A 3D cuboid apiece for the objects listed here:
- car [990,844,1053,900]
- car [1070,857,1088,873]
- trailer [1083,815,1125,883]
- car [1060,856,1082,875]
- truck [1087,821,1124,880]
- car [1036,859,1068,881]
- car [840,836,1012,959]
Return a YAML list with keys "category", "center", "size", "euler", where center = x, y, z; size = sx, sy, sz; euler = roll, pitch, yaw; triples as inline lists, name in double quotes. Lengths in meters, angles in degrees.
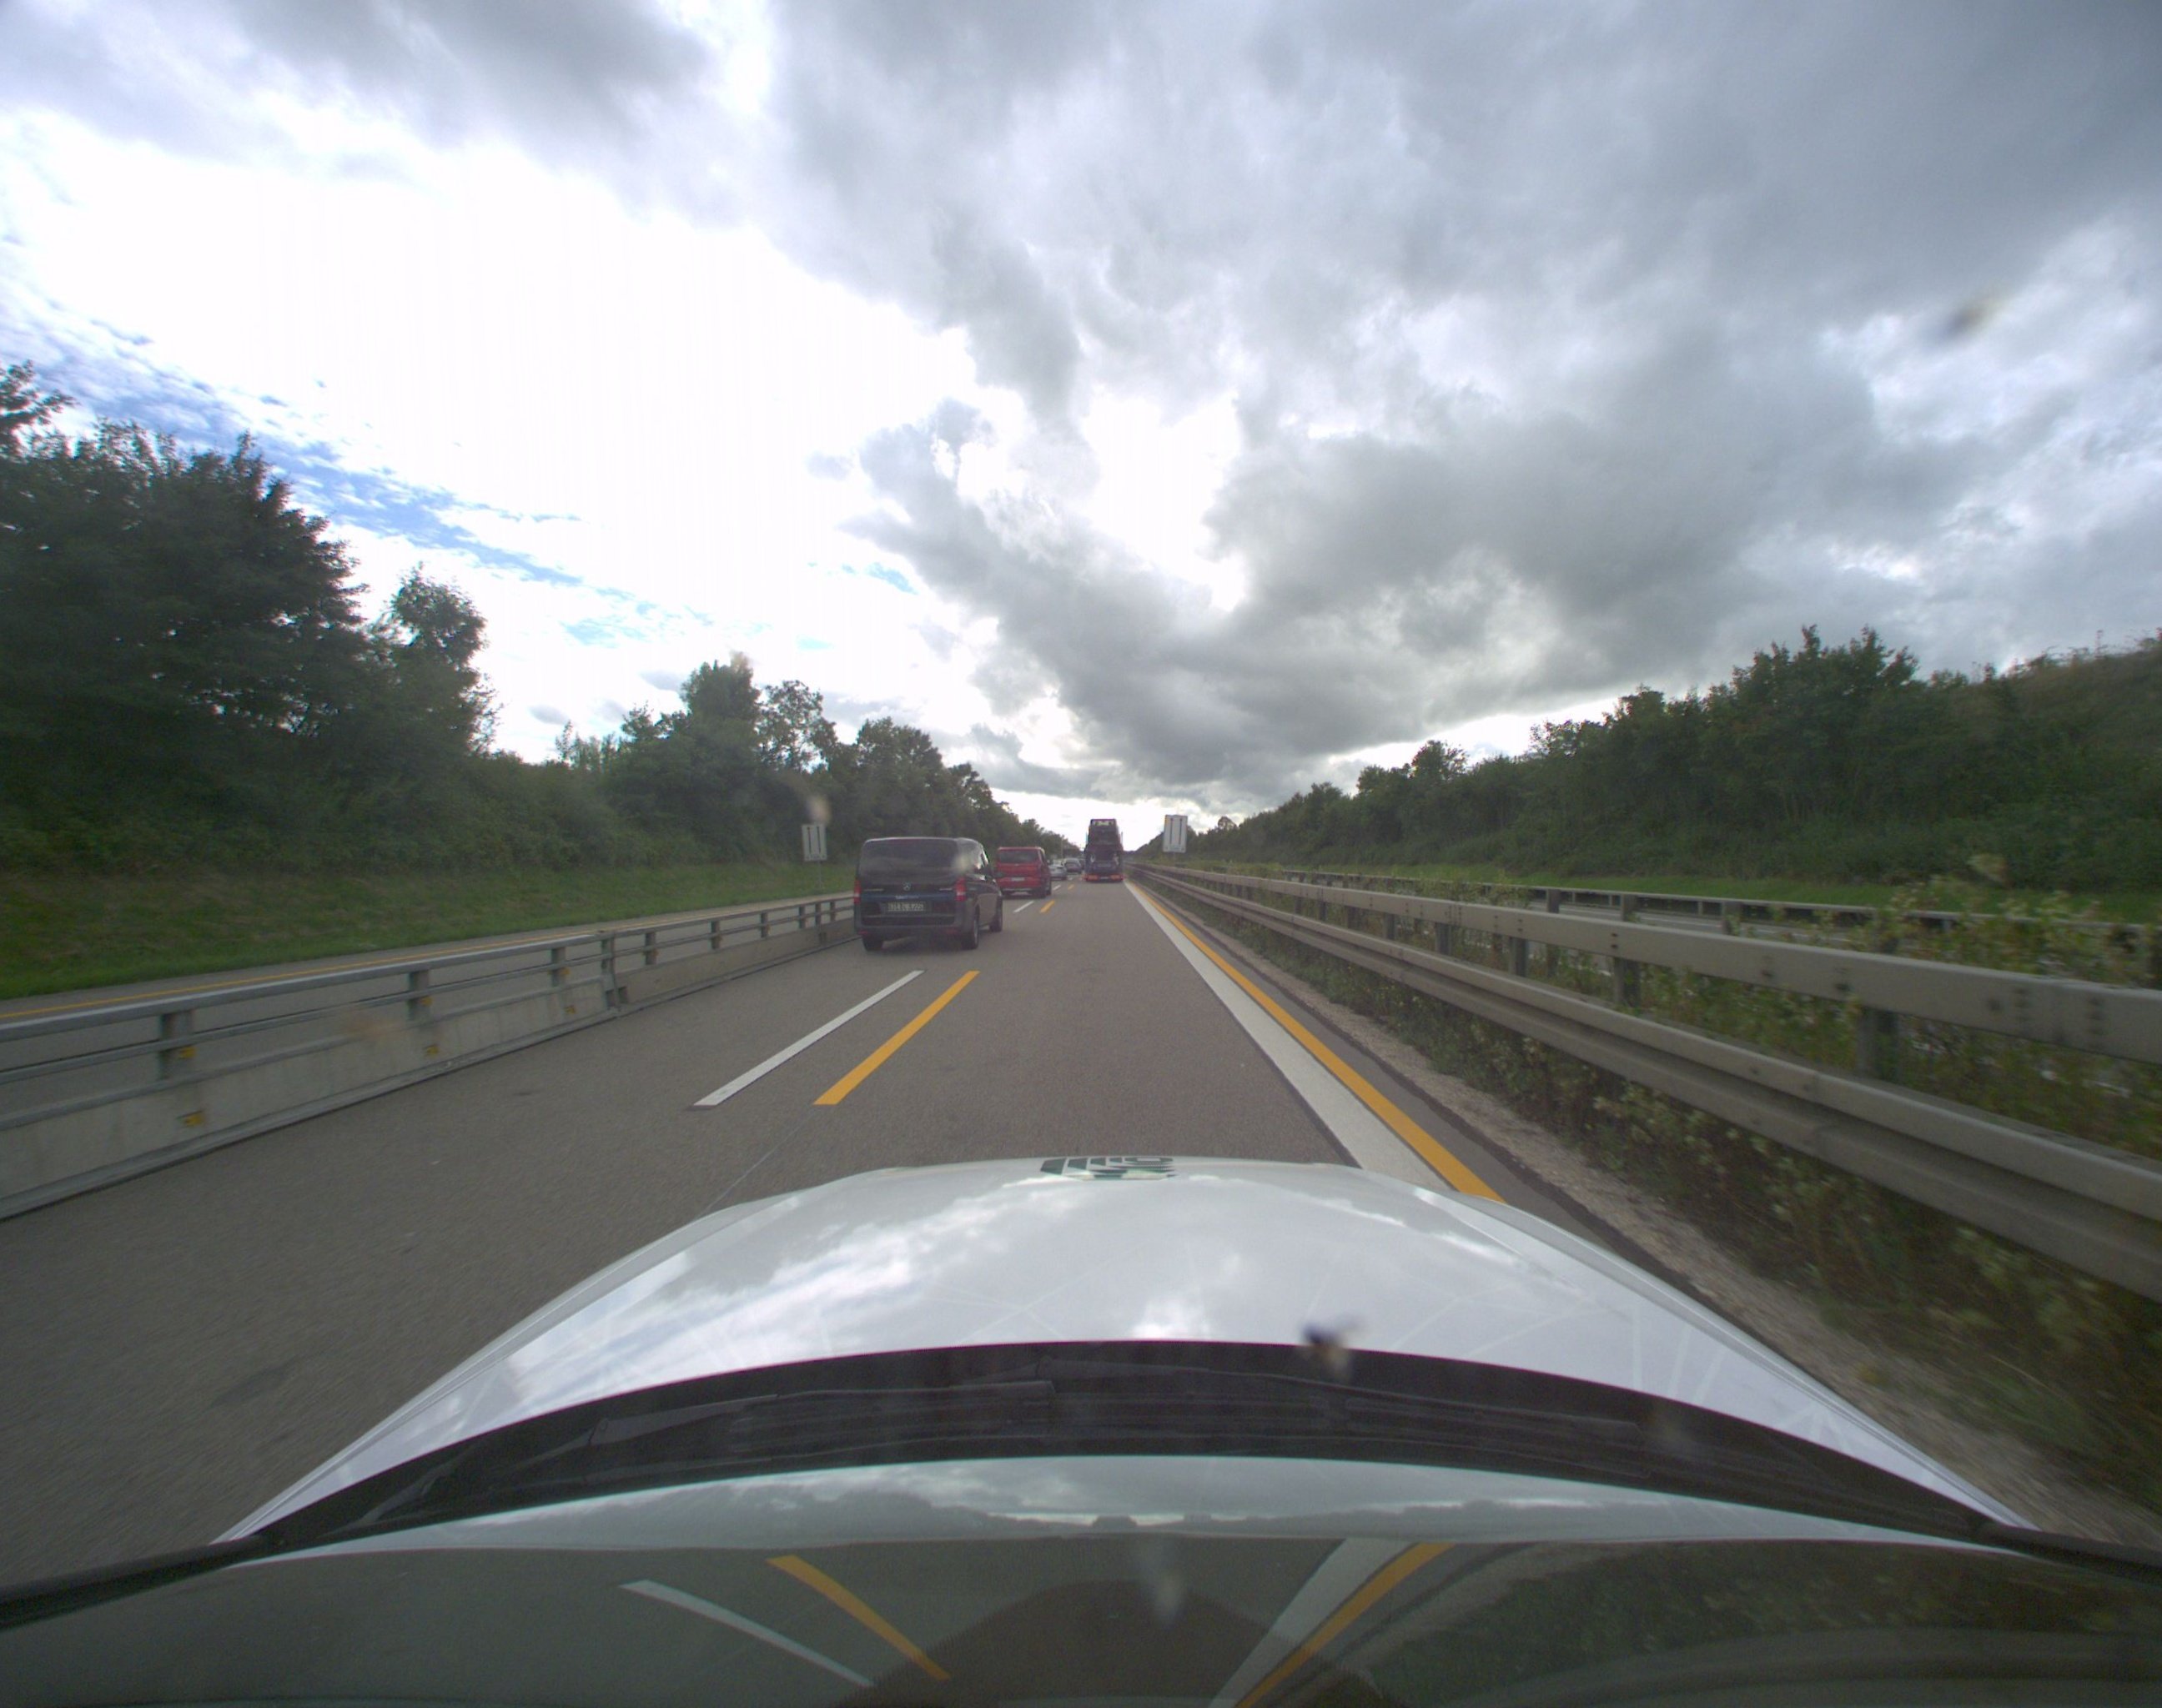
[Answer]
- category: "car"
  center: [-2.271, 0.688, 32.363]
  size: [2.023, 2.014, 4.579]
  euler: [-1, 0, 1]
- category: "car"
  center: [-0.188, 1.268, 92.741]
  size: [2.024, 1.757, 4.578]
  euler: [-1, 0, 1]
- category: "trailer"
  center: [1.631, -0.240, 55.170]
  size: [2.505, 4.105, 11.118]
  euler: [-1, 0, 2]
- category: "car"
  center: [-0.931, 1.104, 80.666]
  size: [2.024, 1.757, 4.578]
  euler: [-1, 0, 1]
- category: "truck"
  center: [1.810, -0.199, 59.899]
  size: [2.506, 4.105, 5.688]
  euler: [-1, -1, 2]
- category: "car"
  center: [-2.044, 1.125, 58.534]
  size: [2.024, 1.431, 4.578]
  euler: [-1, 0, 1]
- category: "car"
  center: [-2.629, 0.689, 15.343]
  size: [1.986, 1.843, 5.611]
  euler: [-1, 0, 2]
